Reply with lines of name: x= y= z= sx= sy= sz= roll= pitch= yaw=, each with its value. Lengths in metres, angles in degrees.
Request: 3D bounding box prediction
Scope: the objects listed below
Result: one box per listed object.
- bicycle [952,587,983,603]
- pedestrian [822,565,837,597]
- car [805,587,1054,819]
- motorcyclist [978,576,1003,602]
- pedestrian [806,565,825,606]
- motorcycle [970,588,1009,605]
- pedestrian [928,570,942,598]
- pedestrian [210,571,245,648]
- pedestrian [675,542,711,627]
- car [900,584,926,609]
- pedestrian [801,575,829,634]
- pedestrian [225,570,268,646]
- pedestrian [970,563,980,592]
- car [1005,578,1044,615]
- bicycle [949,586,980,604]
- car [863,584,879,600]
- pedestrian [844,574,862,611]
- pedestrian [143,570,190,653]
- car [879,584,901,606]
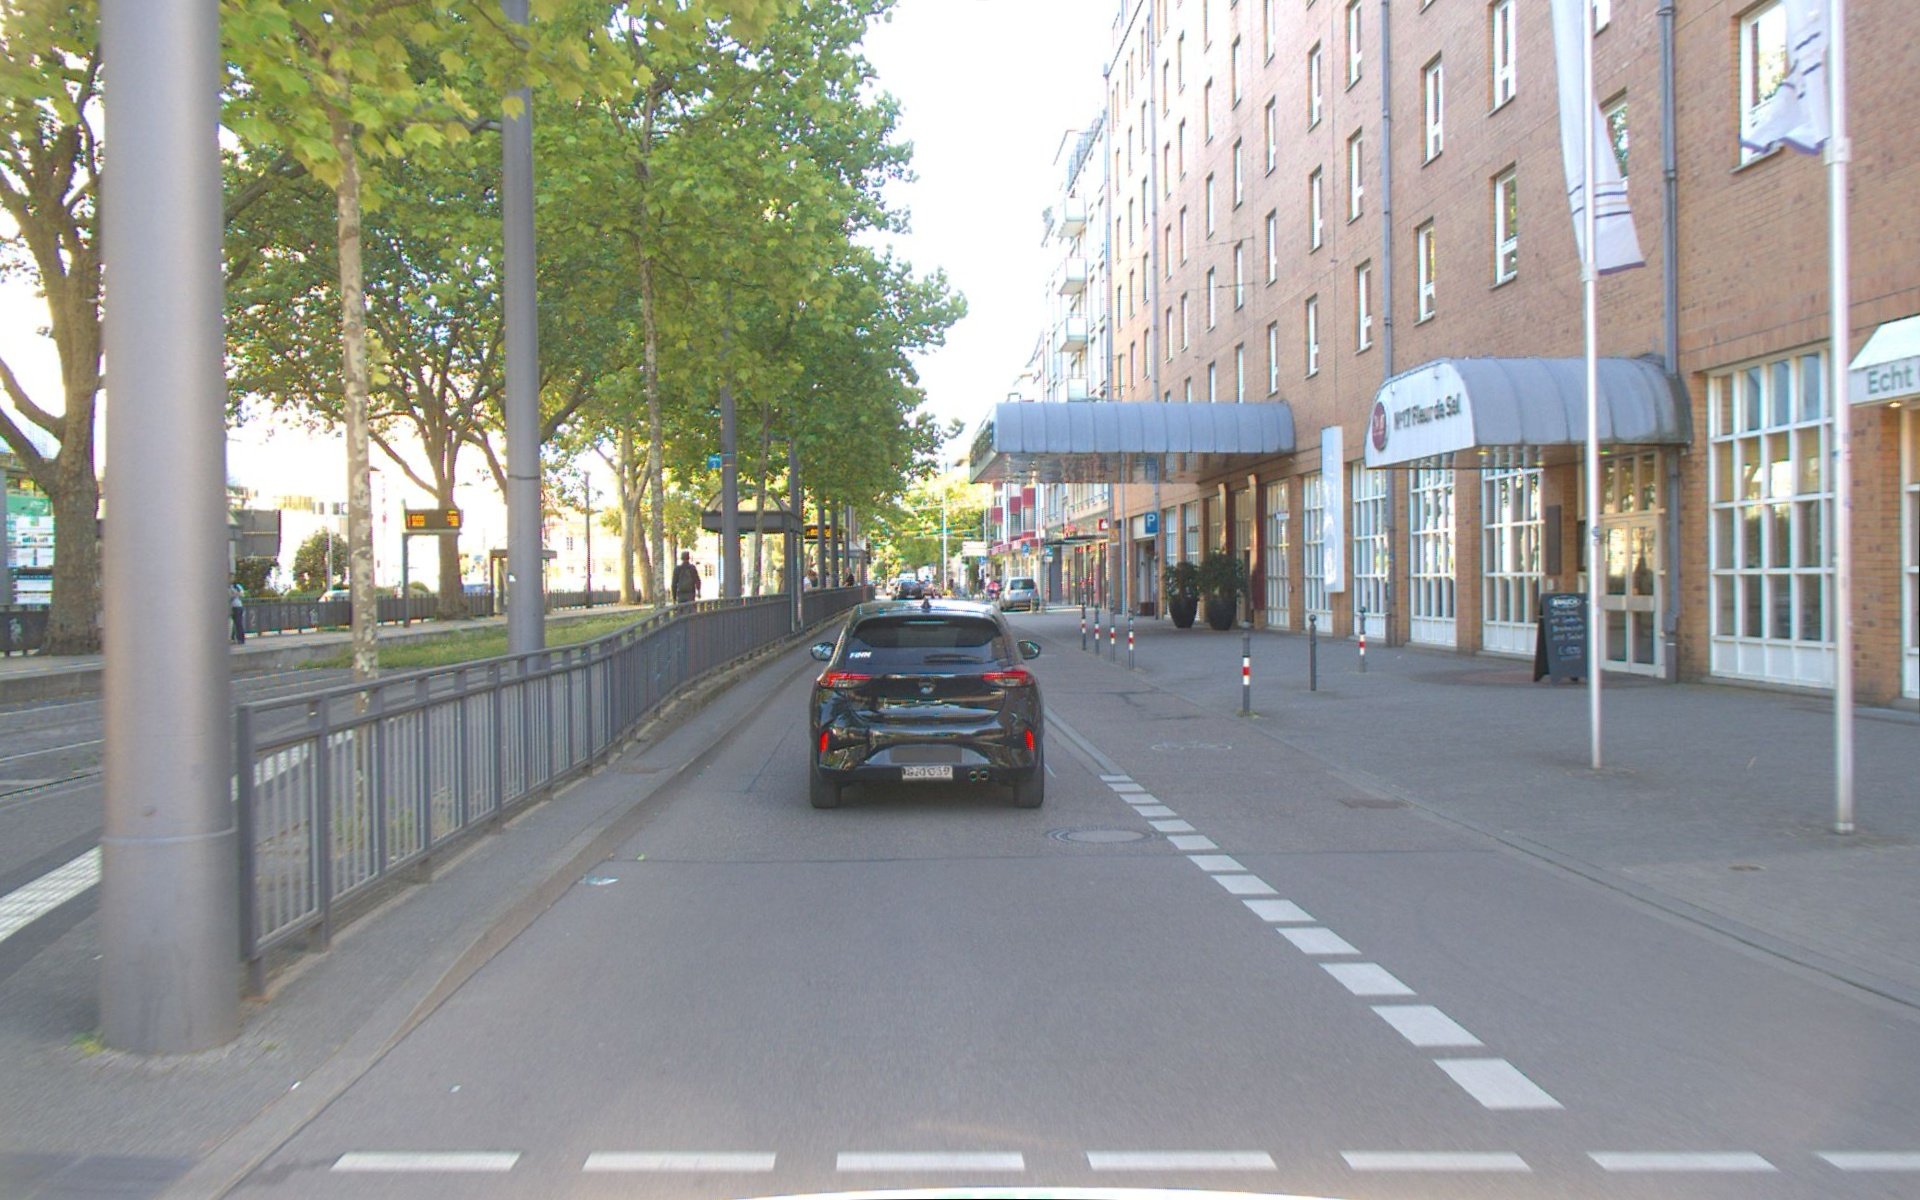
bicycle: x=0.582 y=-0.389 z=126.010 sx=2.307 sy=1.255 sz=0.684 roll=0 pitch=1 yaw=0
pedestrian: x=-5.662 y=-0.817 z=71.809 sx=0.592 sy=1.389 sz=0.486 roll=-2 pitch=0 yaw=-2
car: x=-0.187 y=0.676 z=12.827 sx=1.637 sy=1.528 sz=3.691 roll=1 pitch=0 yaw=0
motorcyclist: x=2.079 y=-0.747 z=112.723 sx=1.292 sy=1.727 sz=1.224 roll=-1 pitch=1 yaw=-32
pedestrian: x=-4.996 y=-0.500 z=57.160 sx=0.592 sy=1.389 sz=0.486 roll=-2 pitch=0 yaw=-2
motorcycle: x=1.997 y=-0.259 z=112.853 sx=1.292 sy=1.077 sz=3.065 roll=-1 pitch=1 yaw=-31
pedestrian: x=-2.658 y=-1.711 z=178.152 sx=1.137 sy=2.922 sz=0.908 roll=-1 pitch=0 yaw=-35
pedestrian: x=-15.514 y=0.191 z=35.031 sx=0.490 sy=1.600 sz=0.494 roll=0 pitch=2 yaw=2
pedestrian: x=-5.479 y=-0.323 z=33.965 sx=0.592 sy=1.709 sz=0.486 roll=-2 pitch=0 yaw=-2
car: x=-3.002 y=-0.234 z=104.739 sx=1.581 sy=1.528 sz=3.689 roll=0 pitch=1 yaw=-2
pedestrian: x=-3.665 y=0.112 z=41.827 sx=0.708 sy=1.470 sz=0.626 roll=0 pitch=1 yaw=-6
pedestrian: x=-15.360 y=0.165 z=35.606 sx=0.551 sy=1.600 sz=0.640 roll=0 pitch=2 yaw=10
pedestrian: x=1.551 y=-2.318 z=170.521 sx=0.898 sy=2.921 sz=1.150 roll=0 pitch=1 yaw=-3
car: x=3.048 y=-0.175 z=78.884 sx=1.638 sy=1.681 sz=3.690 roll=0 pitch=1 yaw=-1
bicycle: x=0.363 y=-0.378 z=124.571 sx=2.307 sy=1.255 sz=0.684 roll=0 pitch=1 yaw=0
car: x=-9.082 y=-0.808 z=168.522 sx=1.581 sy=1.528 sz=3.689 roll=0 pitch=1 yaw=-2
pedestrian: x=-4.332 y=-0.302 z=67.127 sx=0.708 sy=1.470 sz=0.626 roll=0 pitch=1 yaw=-5
pedestrian: x=-15.634 y=0.223 z=32.576 sx=0.477 sy=1.600 sz=0.668 roll=1 pitch=3 yaw=41
car: x=-5.205 y=-0.382 z=123.599 sx=1.581 sy=1.528 sz=3.689 roll=0 pitch=1 yaw=-2
